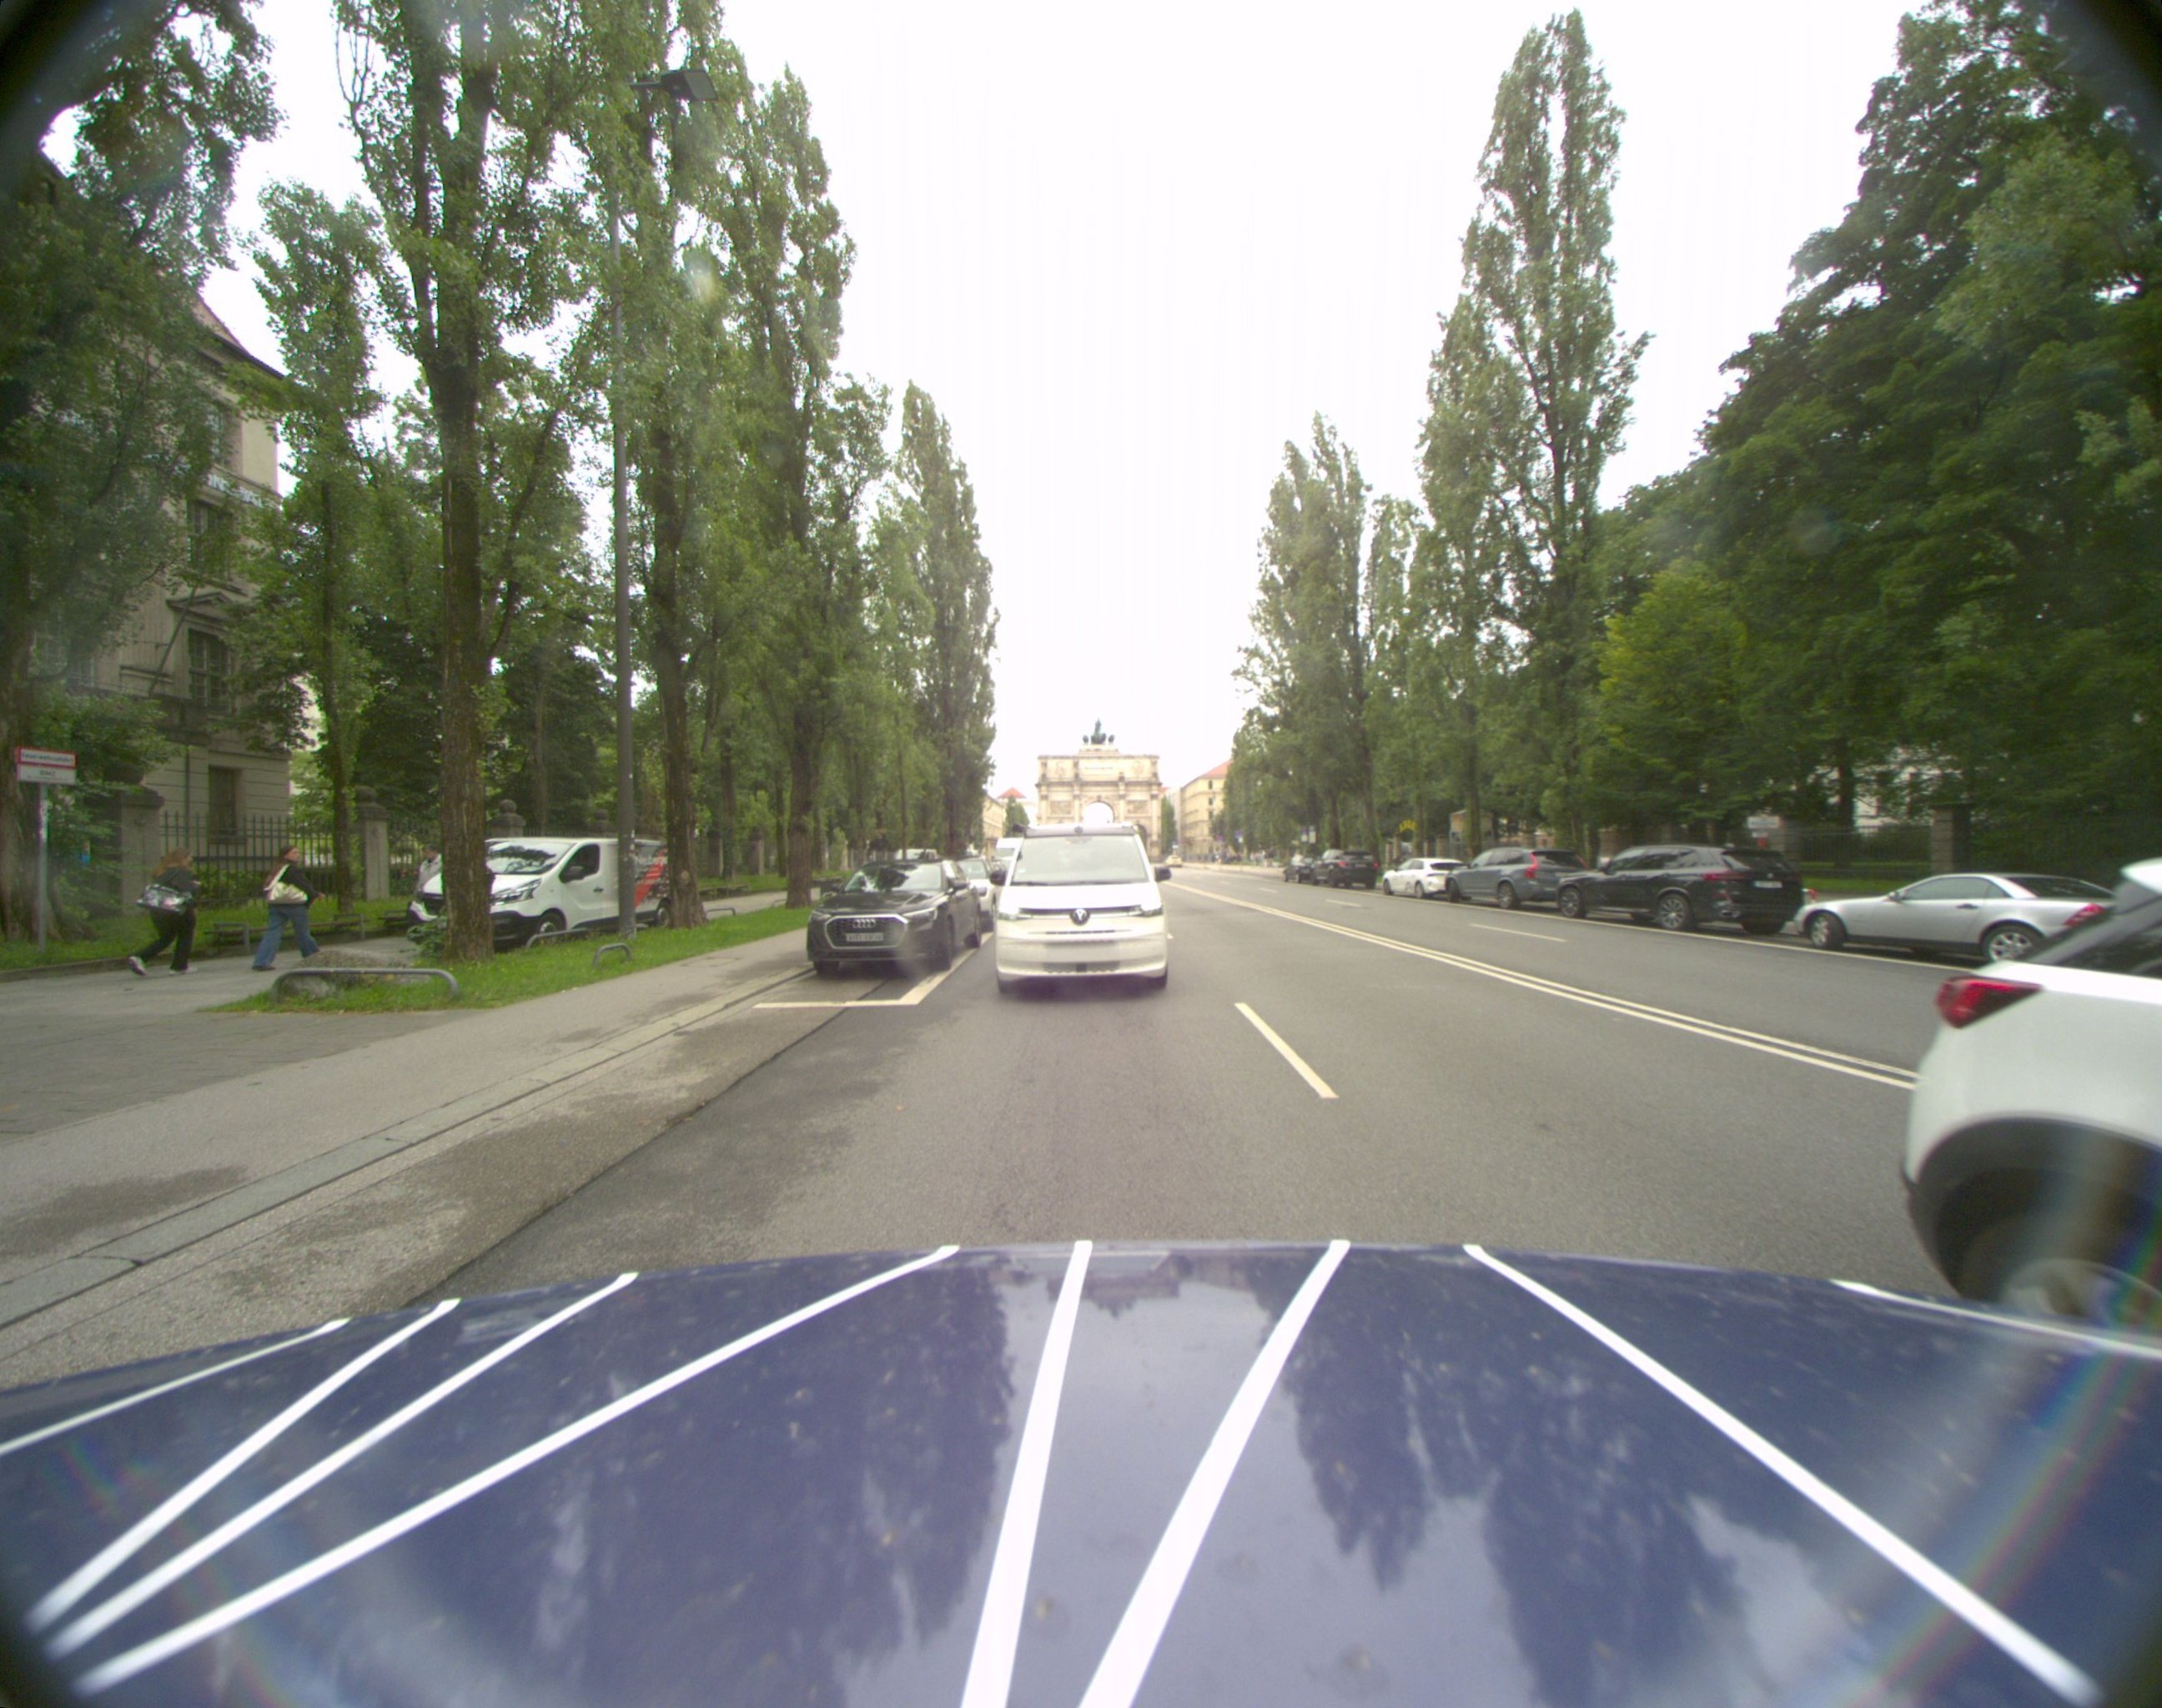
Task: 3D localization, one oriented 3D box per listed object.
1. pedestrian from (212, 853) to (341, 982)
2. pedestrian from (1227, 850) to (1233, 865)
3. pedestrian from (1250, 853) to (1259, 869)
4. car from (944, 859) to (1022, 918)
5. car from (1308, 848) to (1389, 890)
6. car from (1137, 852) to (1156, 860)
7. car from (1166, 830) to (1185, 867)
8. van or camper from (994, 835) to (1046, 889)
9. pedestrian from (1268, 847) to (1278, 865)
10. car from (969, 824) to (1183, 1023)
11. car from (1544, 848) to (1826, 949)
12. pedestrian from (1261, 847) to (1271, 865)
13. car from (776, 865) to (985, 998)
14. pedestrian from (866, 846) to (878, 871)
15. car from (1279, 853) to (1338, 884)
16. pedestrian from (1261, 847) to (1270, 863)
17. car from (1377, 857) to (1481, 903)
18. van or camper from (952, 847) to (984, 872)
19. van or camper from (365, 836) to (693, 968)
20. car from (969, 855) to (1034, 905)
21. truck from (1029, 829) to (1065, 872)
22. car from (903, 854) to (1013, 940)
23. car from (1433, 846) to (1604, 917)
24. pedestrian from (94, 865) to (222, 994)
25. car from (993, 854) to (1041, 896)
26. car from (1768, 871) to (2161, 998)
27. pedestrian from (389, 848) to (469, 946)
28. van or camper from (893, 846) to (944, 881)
[{"bbox_3d":[-11.127,0.846,10.548,0.855,1.707,0.867,1,1,-1],"label":"pedestrian"},{"bbox_3d":[17.929,0.419,91.385,0.533,1.720,0.583,-1,1,-11],"label":"pedestrian"},{"bbox_3d":[18.193,0.753,79.560,0.689,1.690,0.885,-1,0,-1],"label":"pedestrian"},{"bbox_3d":[-2.754,0.927,22.138,1.707,1.511,4.295,-1,0,0],"label":"car"},{"bbox_3d":[12.478,0.639,35.804,2.051,1.776,4.799,2,0,0],"label":"car"},{"bbox_3d":[14.120,0.416,163.992,2.004,1.739,3.989,-1,0,-40],"label":"car"},{"bbox_3d":[11.608,-0.660,93.435,1.799,4.449,1.333,16,-45,-8],"label":"car"},{"bbox_3d":[-3.015,0.368,39.099,2.144,2.525,6.416,-1,0,0],"label":"van or camper"},{"bbox_3d":[19.573,0.179,77.304,0.711,1.762,1.092,0,1,-1],"label":"pedestrian"},{"bbox_3d":[-0.024,0.681,10.379,2.064,1.916,5.728,-1,0,0],"label":"car"},{"bbox_3d":[12.378,0.790,16.145,1.946,1.757,4.894,2,0,-2],"label":"car"},{"bbox_3d":[18.834,0.176,77.277,0.711,1.823,1.092,0,1,-1],"label":"pedestrian"},{"bbox_3d":[-2.693,0.962,11.360,1.885,1.531,4.464,-1,0,0],"label":"car"},{"bbox_3d":[-16.906,0.380,61.363,0.905,2.002,0.956,0,1,-16],"label":"pedestrian"},{"bbox_3d":[12.529,0.763,42.136,1.949,1.574,4.388,1,0,0],"label":"car"},{"bbox_3d":[19.342,0.123,79.533,0.661,1.706,0.911,-1,0,-1],"label":"pedestrian"},{"bbox_3d":[12.390,0.864,27.345,1.708,1.450,4.272,1,0,-1],"label":"car"},{"bbox_3d":[-9.691,0.432,65.489,2.009,2.002,4.985,-2,0,-2],"label":"van or camper"},{"bbox_3d":[-9.678,0.725,14.113,2.081,1.922,5.368,-2,0,0],"label":"van or camper"},{"bbox_3d":[-2.730,0.840,27.034,1.788,1.608,4.637,-1,0,0],"label":"car"},{"bbox_3d":[-2.944,-0.321,68.826,2.852,3.543,10.277,-1,0,-1],"label":"truck"},{"bbox_3d":[-2.614,0.846,17.206,1.747,1.665,4.579,-1,0,0],"label":"car"},{"bbox_3d":[12.514,0.715,22.252,1.914,1.779,5.179,2,0,-1],"label":"car"},{"bbox_3d":[-11.870,0.940,9.804,0.569,1.569,0.867,0,1,0],"label":"pedestrian"},{"bbox_3d":[-2.644,0.835,32.279,1.789,1.639,4.417,-1,0,-2],"label":"car"},{"bbox_3d":[12.597,0.985,10.770,1.831,1.326,4.233,2,0,-1],"label":"car"},{"bbox_3d":[-12.302,0.788,14.361,0.723,1.760,0.867,2,1,1],"label":"pedestrian"},{"bbox_3d":[-9.746,0.535,46.003,1.980,1.922,5.037,-2,0,-1],"label":"van or camper"}]
